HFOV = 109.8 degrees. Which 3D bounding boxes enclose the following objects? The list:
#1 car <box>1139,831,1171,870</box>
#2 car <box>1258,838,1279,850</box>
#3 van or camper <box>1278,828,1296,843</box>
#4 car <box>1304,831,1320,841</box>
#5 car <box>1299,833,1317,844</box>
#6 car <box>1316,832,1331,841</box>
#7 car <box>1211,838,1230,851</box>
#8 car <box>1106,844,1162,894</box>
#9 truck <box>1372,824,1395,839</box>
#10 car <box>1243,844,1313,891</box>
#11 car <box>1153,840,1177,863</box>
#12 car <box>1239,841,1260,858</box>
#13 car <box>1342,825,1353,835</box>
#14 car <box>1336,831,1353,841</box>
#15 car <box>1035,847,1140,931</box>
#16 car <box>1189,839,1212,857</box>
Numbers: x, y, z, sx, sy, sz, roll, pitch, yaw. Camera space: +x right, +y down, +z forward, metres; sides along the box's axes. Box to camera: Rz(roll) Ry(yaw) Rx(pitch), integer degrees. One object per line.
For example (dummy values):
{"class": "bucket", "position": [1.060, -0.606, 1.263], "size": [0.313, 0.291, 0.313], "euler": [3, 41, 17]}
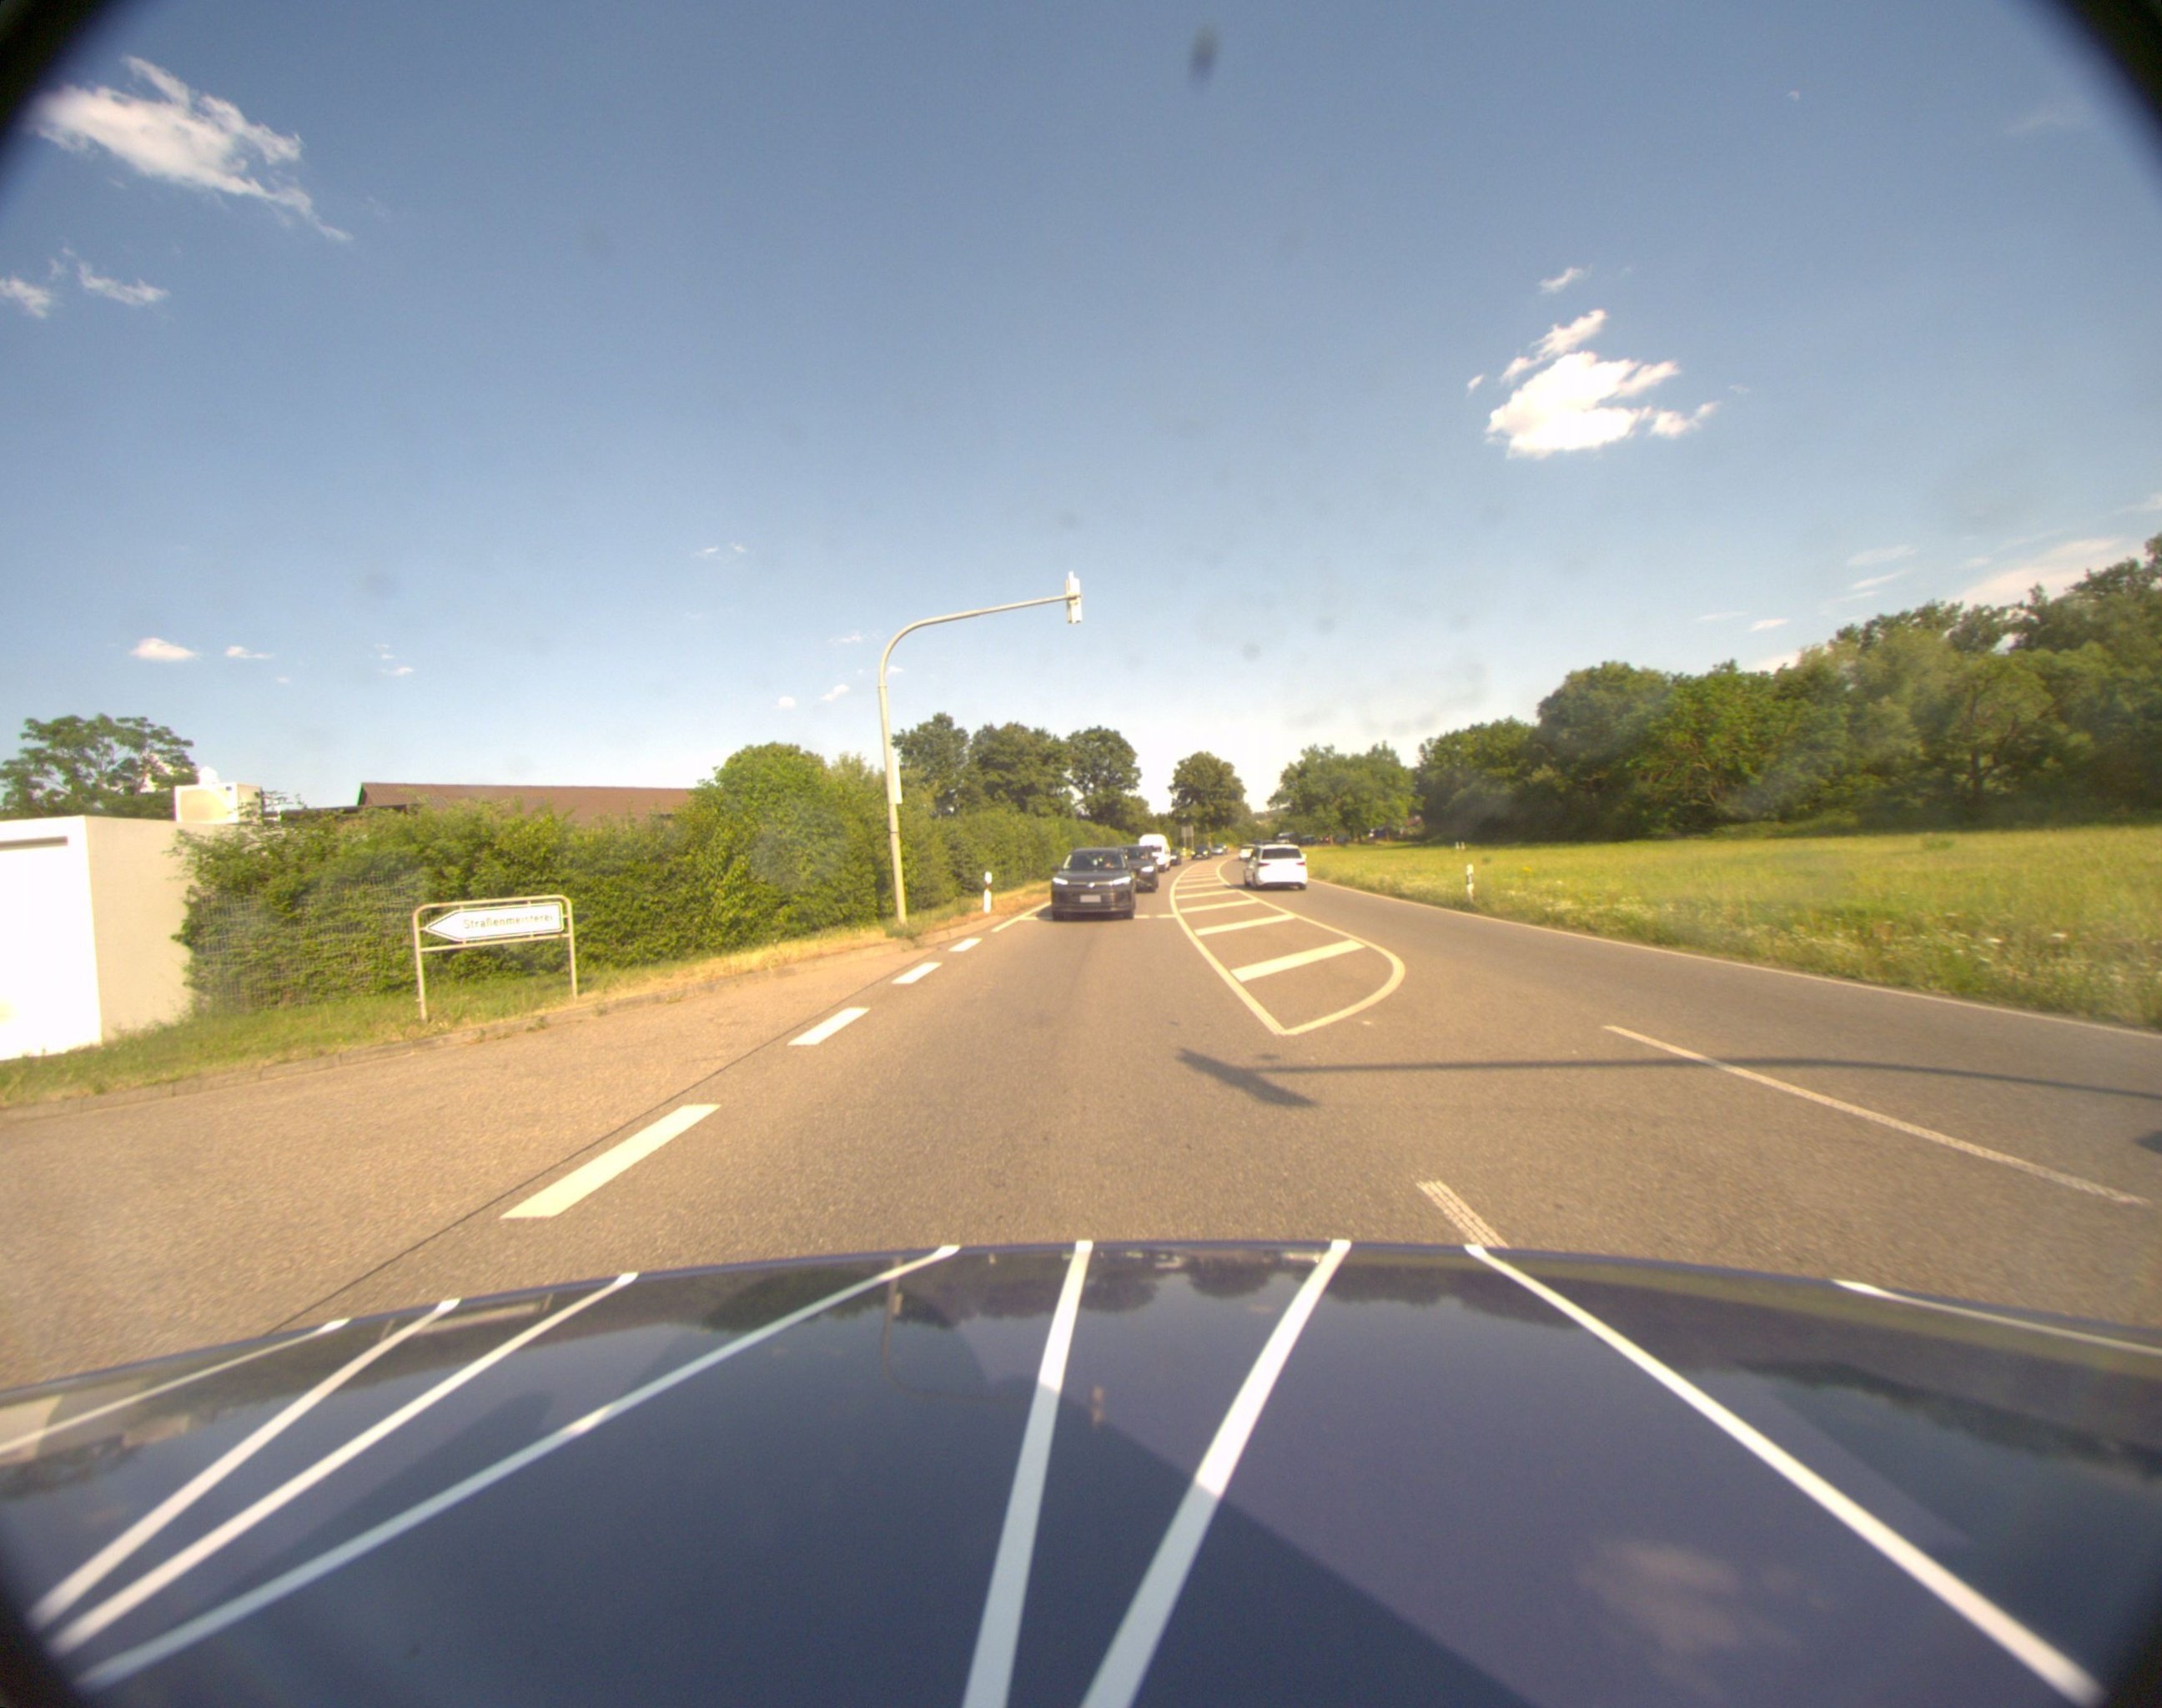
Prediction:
{"class": "car", "position": [4.701, -0.244, 47.980], "size": [1.843, 2.338, 4.791], "euler": [-1, 1, 7]}
{"class": "car", "position": [24.608, -1.297, 99.522], "size": [1.928, 1.577, 4.080], "euler": [0, 1, 26]}
{"class": "van or camper", "position": [36.970, -3.288, 136.320], "size": [2.030, 2.461, 5.085], "euler": [-4, 0, 26]}
{"class": "car", "position": [45.153, -3.530, 148.543], "size": [1.995, 1.543, 4.006], "euler": [-4, 0, 31]}
{"class": "car", "position": [39.274, -2.668, 131.362], "size": [1.995, 1.543, 4.006], "euler": [-4, 0, 31]}
{"class": "car", "position": [50.676, -3.633, 158.561], "size": [1.995, 1.543, 4.006], "euler": [-4, 0, 31]}
{"class": "car", "position": [17.540, -1.171, 95.624], "size": [1.632, 1.550, 3.422], "euler": [0, 2, 23]}
{"class": "car", "position": [2.016, 0.513, 28.060], "size": [1.658, 1.720, 3.807], "euler": [-1, 0, 9]}
{"class": "truck", "position": [69.068, -5.152, 173.398], "size": [2.918, 3.194, 6.694], "euler": [-4, 0, 37]}
{"class": "car", "position": [7.104, 0.472, 27.819], "size": [1.884, 1.577, 4.332], "euler": [-1, 0, 6]}
{"class": "car", "position": [6.771, -0.216, 61.067], "size": [1.692, 1.718, 3.670], "euler": [-1, 1, 10]}
{"class": "car", "position": [15.591, -0.436, 70.301], "size": [1.748, 1.458, 3.482], "euler": [-1, 1, 15]}
{"class": "car", "position": [59.712, -5.429, 170.427], "size": [1.405, 2.002, 3.240], "euler": [-4, 1, 35]}
{"class": "car", "position": [52.993, -3.633, 153.042], "size": [1.995, 1.846, 4.007], "euler": [-4, 1, 37]}
{"class": "car", "position": [0.275, 0.697, 17.258], "size": [1.864, 1.633, 4.002], "euler": [-1, 1, 8]}
{"class": "car", "position": [12.207, -0.637, 77.432], "size": [1.671, 1.718, 3.673], "euler": [-1, 1, 20]}
